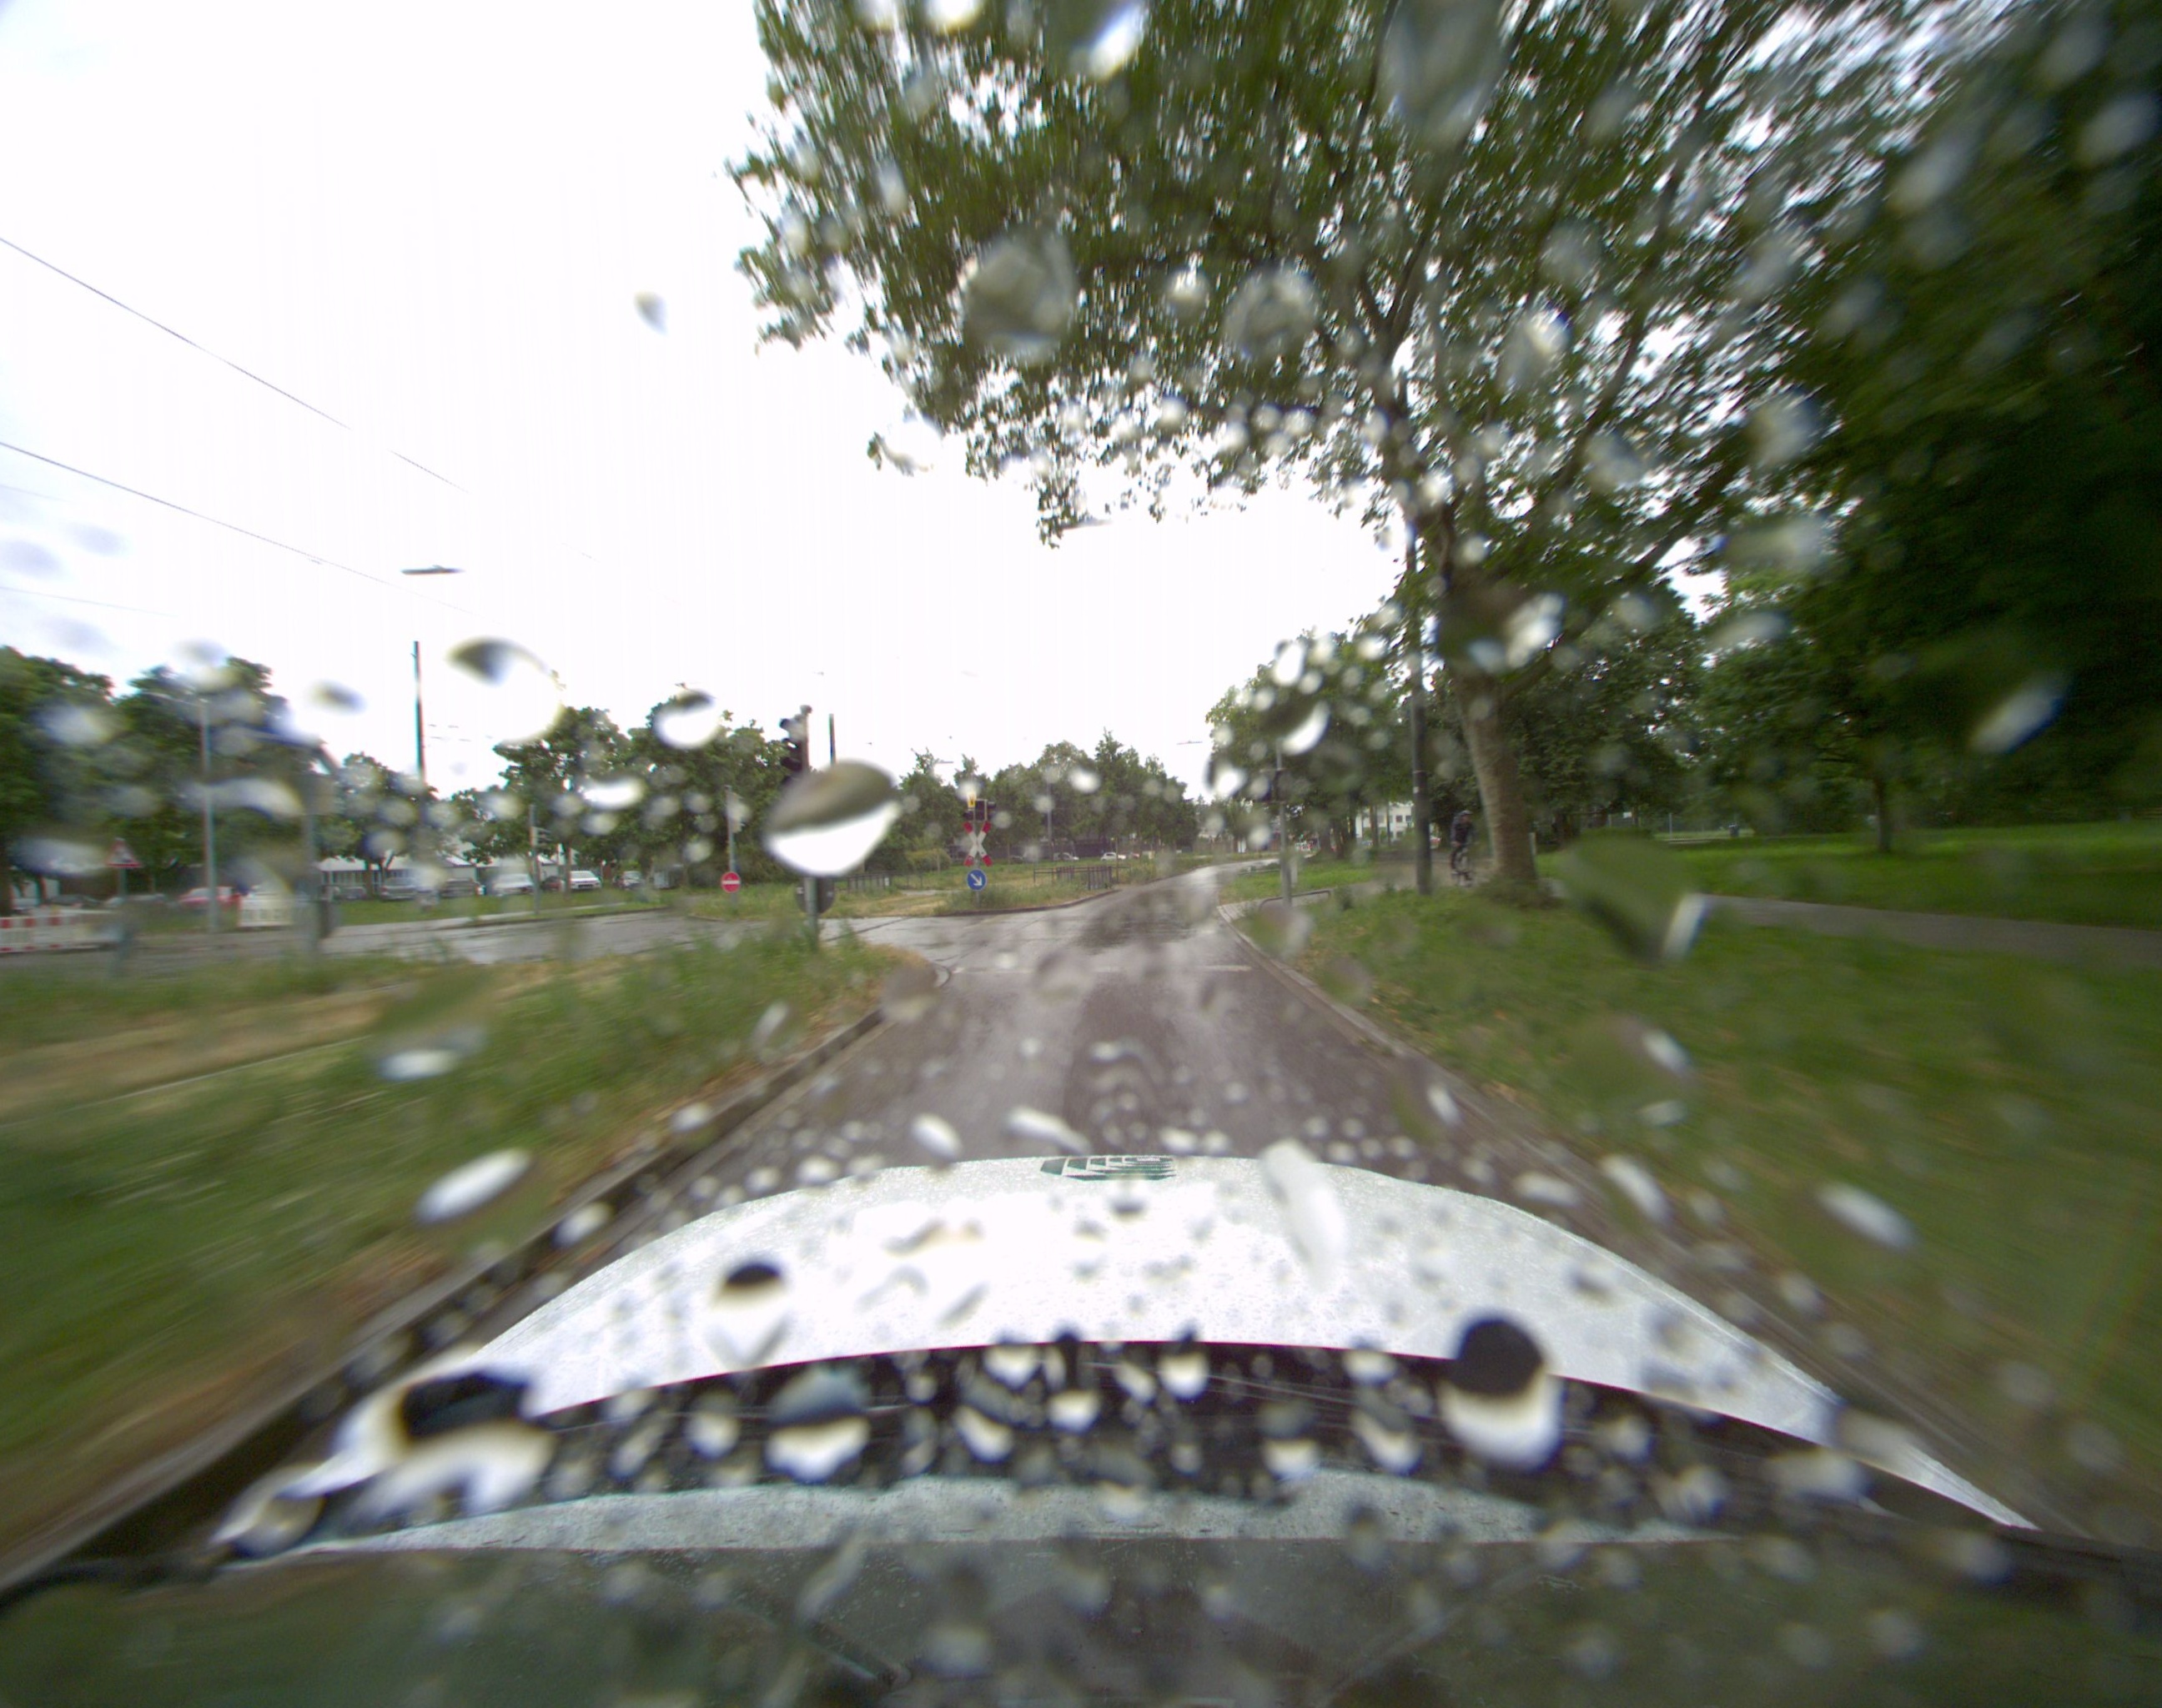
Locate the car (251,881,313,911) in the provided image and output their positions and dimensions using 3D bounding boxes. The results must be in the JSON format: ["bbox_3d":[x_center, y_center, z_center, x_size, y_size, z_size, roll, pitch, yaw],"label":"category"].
[{"bbox_3d":[-38.596,2.006,39.417,1.673,1.249,3.700,-3,0,-37],"label":"car"}]

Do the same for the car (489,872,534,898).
[{"bbox_3d":[-31.326,1.710,44.753,1.674,1.249,3.698,-3,0,-40],"label":"car"}]

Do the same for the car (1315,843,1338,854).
[{"bbox_3d":[33.776,-0.771,111.992,1.681,1.420,3.809,-3,0,-4],"label":"car"}]

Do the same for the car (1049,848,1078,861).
[{"bbox_3d":[-2.791,0.068,128.613,4.176,1.796,1.660,-3,1,17],"label":"car"}]

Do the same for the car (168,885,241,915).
[{"bbox_3d":[-40.772,2.115,37.974,1.673,1.249,3.700,-3,0,-37],"label":"car"}]

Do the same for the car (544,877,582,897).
[{"bbox_3d":[-35.571,2.278,55.877,1.674,1.249,3.698,-3,0,-40],"label":"car"}]

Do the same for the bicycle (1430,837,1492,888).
[{"bbox_3d":[9.219,0.176,19.841,0.708,1.142,1.976,-3,0,6],"label":"bicycle"}]

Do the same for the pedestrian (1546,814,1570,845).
[{"bbox_3d":[26.920,-1.378,45.976,1.021,1.694,0.860,-3,0,34],"label":"pedestrian"}]

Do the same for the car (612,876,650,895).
[{"bbox_3d":[-32.662,2.279,59.022,1.674,1.249,3.698,-3,0,-40],"label":"car"}]

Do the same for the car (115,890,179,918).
[{"bbox_3d":[-50.723,2.682,44.292,1.674,1.325,3.698,-3,0,-40],"label":"car"}]

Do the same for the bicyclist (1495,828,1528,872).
[{"bbox_3d":[10.467,-0.098,19.813,0.484,1.038,0.593,-3,1,8],"label":"bicyclist"}]

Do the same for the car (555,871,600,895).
[{"bbox_3d":[-29.161,1.696,47.137,1.674,1.249,3.698,-3,0,-40],"label":"car"}]

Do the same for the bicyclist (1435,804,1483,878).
[{"bbox_3d":[9.180,-0.322,19.809,0.708,1.721,0.959,-3,0,6],"label":"bicyclist"}]

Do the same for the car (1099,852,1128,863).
[{"bbox_3d":[5.053,0.481,125.737,4.033,1.499,1.660,-3,-1,18],"label":"car"}]

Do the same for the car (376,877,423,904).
[{"bbox_3d":[-35.720,1.906,42.755,1.673,1.249,3.700,-3,0,-37],"label":"car"}]

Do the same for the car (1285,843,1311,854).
[{"bbox_3d":[32.615,-0.816,122.445,1.542,1.420,3.965,-3,0,-27],"label":"car"}]

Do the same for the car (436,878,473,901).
[{"bbox_3d":[-40.349,2.281,52.424,1.674,1.325,3.698,-3,0,-40],"label":"car"}]

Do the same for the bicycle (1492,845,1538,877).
[{"bbox_3d":[10.455,0.166,19.660,0.484,0.708,1.461,-3,1,8],"label":"bicycle"}]

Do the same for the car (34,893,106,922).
[{"bbox_3d":[-53.304,2.803,43.019,1.674,1.325,3.698,-3,0,-40],"label":"car"}]
